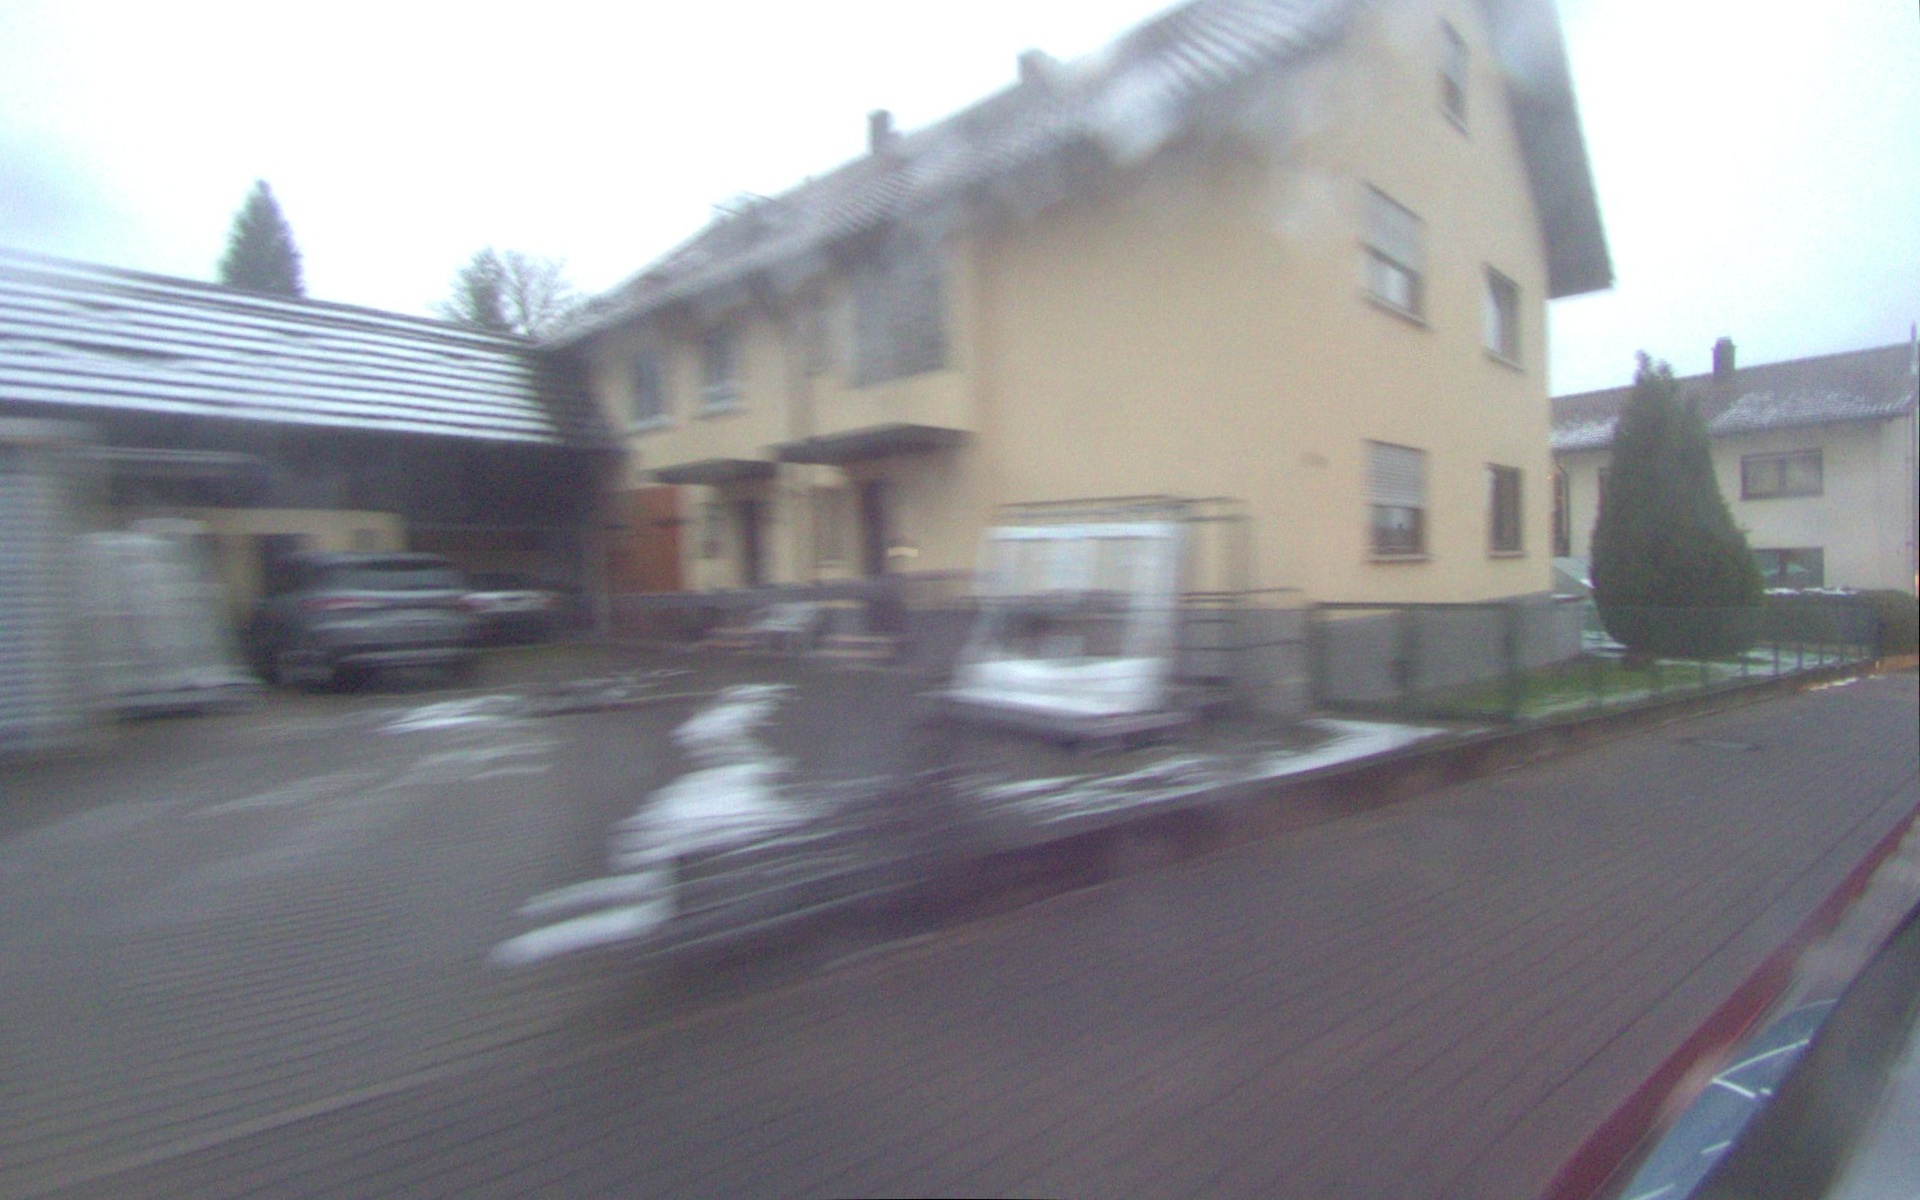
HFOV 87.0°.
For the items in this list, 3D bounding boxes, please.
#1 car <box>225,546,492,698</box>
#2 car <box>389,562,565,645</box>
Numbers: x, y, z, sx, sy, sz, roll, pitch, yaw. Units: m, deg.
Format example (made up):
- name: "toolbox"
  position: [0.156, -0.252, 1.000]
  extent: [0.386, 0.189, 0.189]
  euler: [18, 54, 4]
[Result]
- name: "car"
  position: [-7.748, 0.172, 12.897]
  extent: [3.988, 1.612, 1.969]
  euler: [2, 2, 44]
- name: "car"
  position: [-9.169, 0.002, 19.073]
  extent: [3.988, 1.399, 1.752]
  euler: [2, 2, 44]
